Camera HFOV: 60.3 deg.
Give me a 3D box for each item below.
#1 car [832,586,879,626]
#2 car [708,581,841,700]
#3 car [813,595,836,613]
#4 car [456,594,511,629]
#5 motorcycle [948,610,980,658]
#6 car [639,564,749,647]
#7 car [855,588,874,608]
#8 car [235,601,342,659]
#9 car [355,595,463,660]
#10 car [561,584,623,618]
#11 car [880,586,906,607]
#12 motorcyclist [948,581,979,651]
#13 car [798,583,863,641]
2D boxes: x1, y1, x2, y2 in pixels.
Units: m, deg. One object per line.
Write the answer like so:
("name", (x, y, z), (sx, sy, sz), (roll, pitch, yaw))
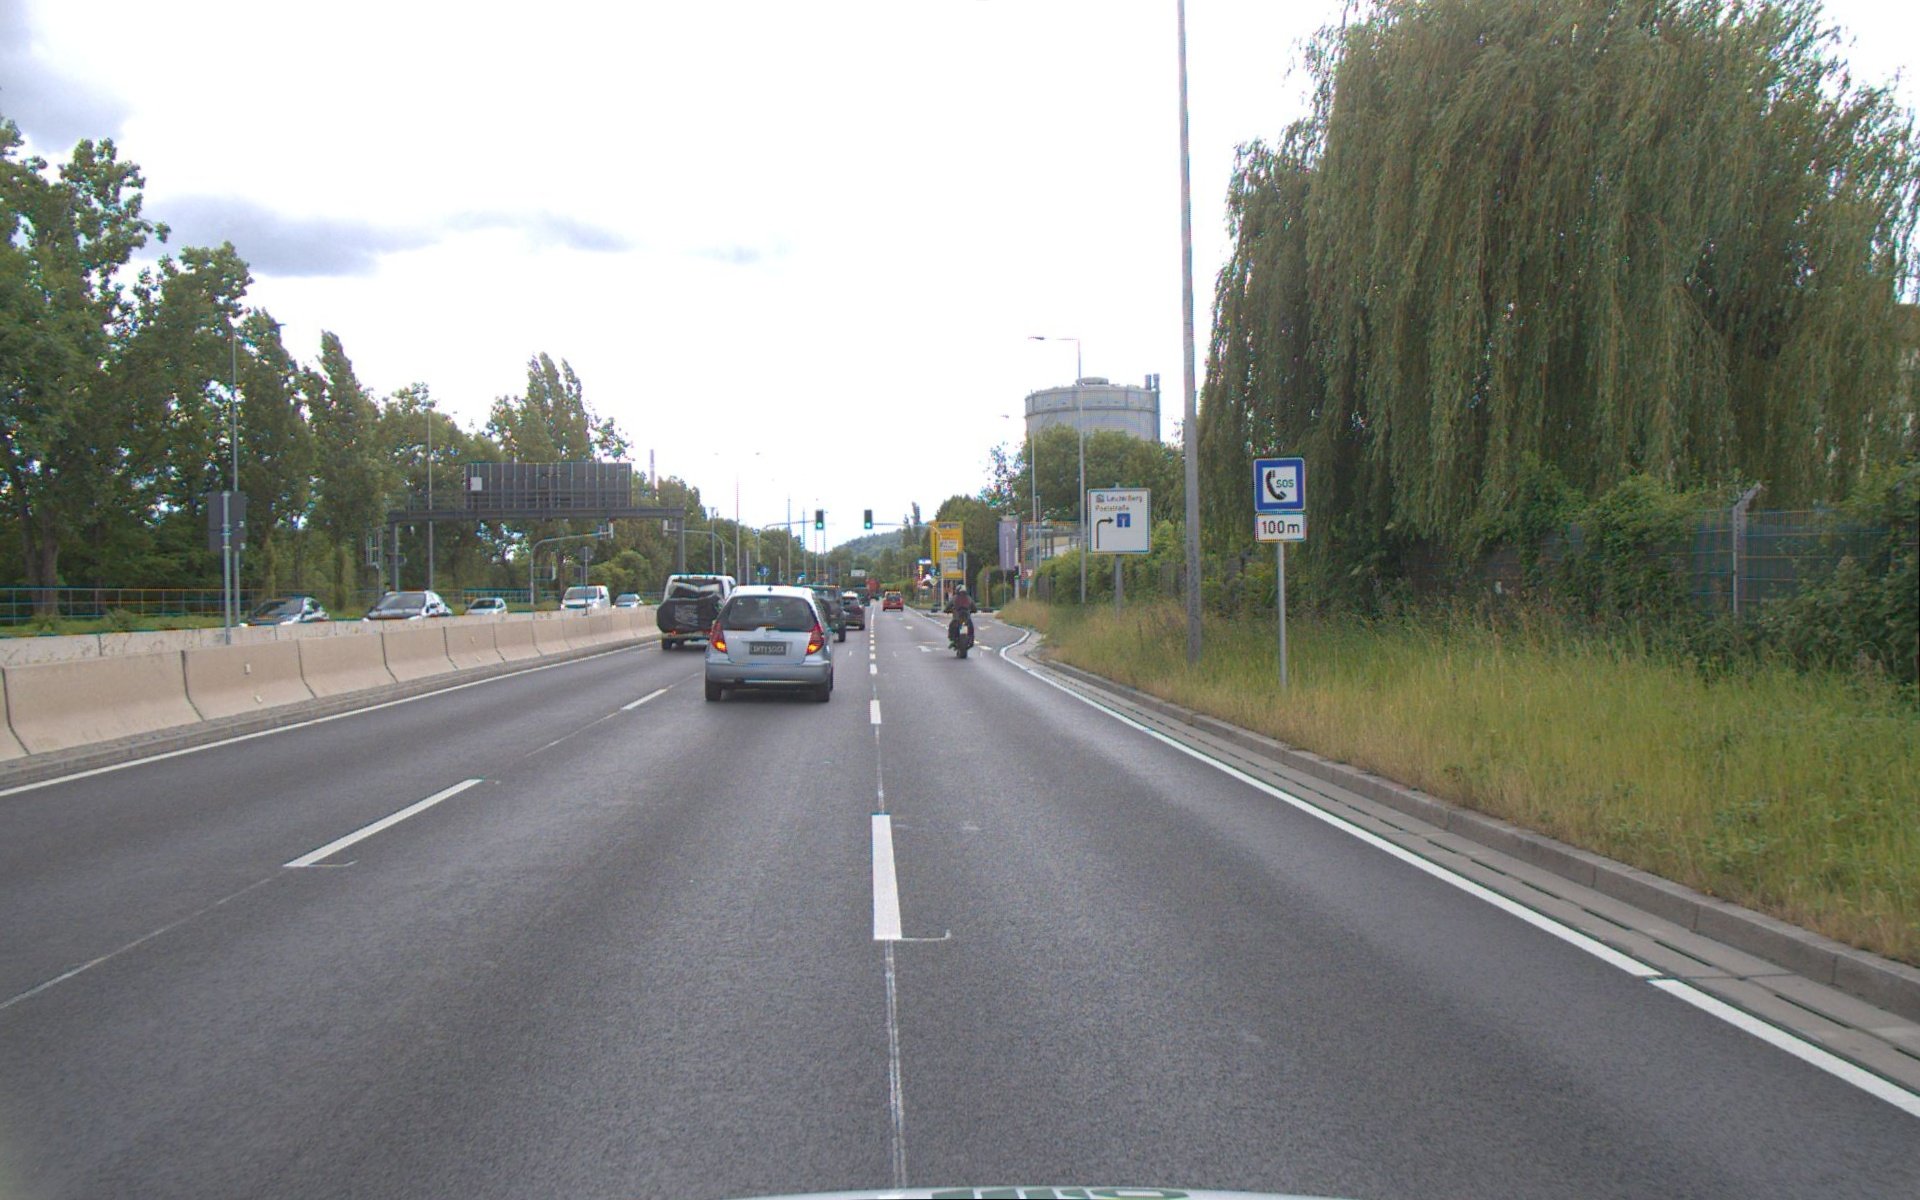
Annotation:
("car", (-4.191, 0.222, 66.668), (1.803, 1.489, 3.998), (1, 0, -3))
("car", (-2.633, 0.529, 24.182), (1.676, 1.556, 3.997), (1, 0, -3))
("car", (-12.428, 0.336, 151.869), (1.954, 1.579, 3.997), (1, 0, -4))
("car", (-24.787, 0.570, 86.114), (1.840, 1.712, 4.120), (1, 0, -3))
("motorcycle", (0.082, 0.790, 39.201), (0.692, 1.058, 2.026), (1, 0, -1))
("car", (-6.790, 0.117, 42.774), (2.170, 1.959, 5.000), (1, 0, -2))
("car", (-10.495, -0.237, 182.428), (1.954, 2.049, 3.998), (1, 0, -3))
("car", (-22.435, 0.956, 55.409), (1.954, 1.769, 4.301), (1, 0, -3))
("car", (-16.252, 0.779, 48.999), (1.954, 1.769, 3.998), (1, 0, -3))
("car", (-18.090, 0.027, 81.568), (1.953, 1.586, 4.885), (1, 0, -1))
("car", (-5.344, -0.272, 132.159), (1.954, 1.579, 3.997), (1, 0, -4))
("motorcyclist", (0.086, 0.372, 39.117), (0.671, 1.638, 0.845), (1, 0, -1))
("car", (-3.999, 0.343, 51.682), (1.869, 1.713, 3.998), (1, 0, -3))
